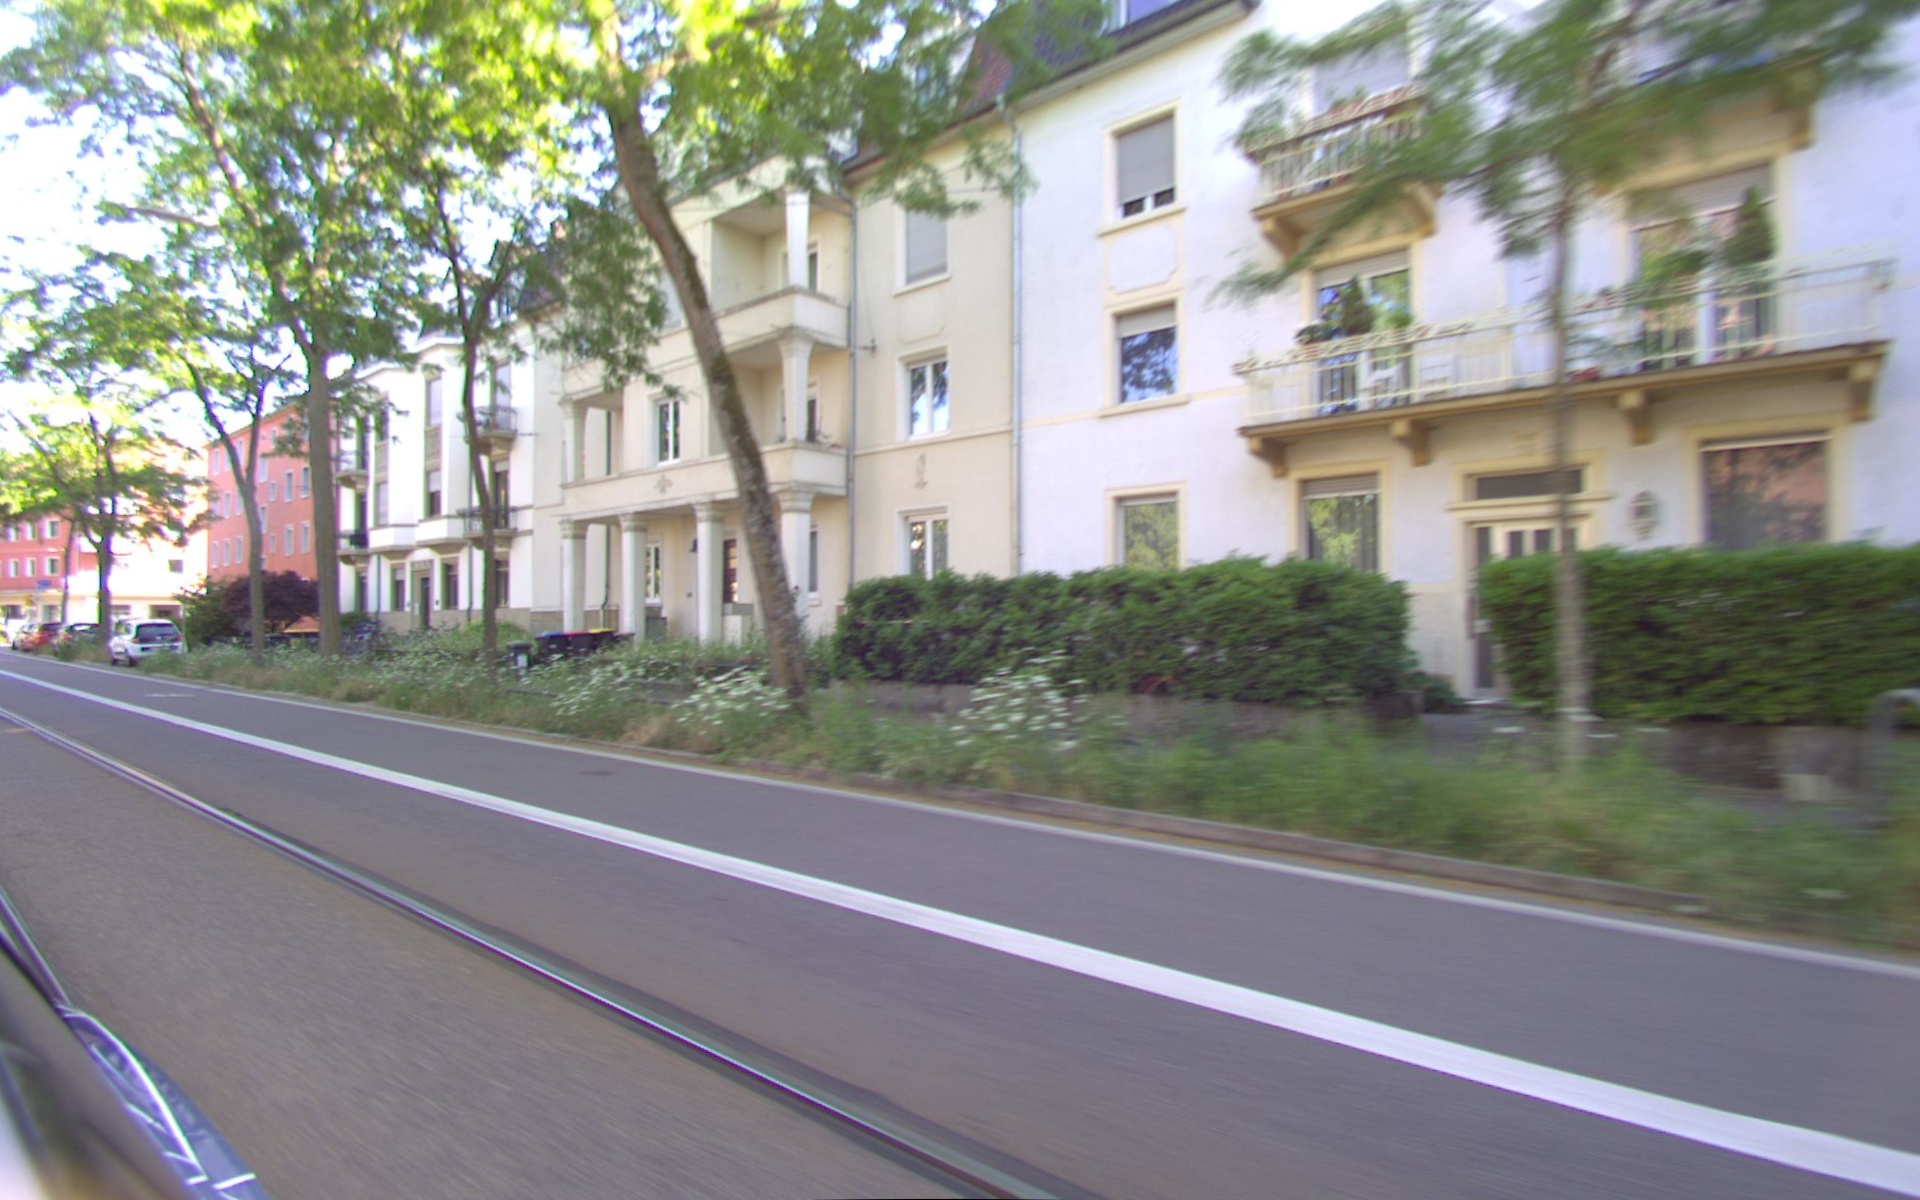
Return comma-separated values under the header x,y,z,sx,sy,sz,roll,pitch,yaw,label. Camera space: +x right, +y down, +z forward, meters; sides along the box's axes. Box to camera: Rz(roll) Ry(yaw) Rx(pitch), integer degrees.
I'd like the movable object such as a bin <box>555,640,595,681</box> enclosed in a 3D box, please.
x,y,z,sx,sy,sz,roll,pitch,yaw,label
-9.243,1.442,24.282,0.739,0.928,0.621,-1,-1,41,movable object such as a bin

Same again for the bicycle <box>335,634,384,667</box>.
x,y,z,sx,sy,sz,roll,pitch,yaw,label
-19.386,1.615,32.720,0.550,1.004,1.863,0,-1,-3,bicycle

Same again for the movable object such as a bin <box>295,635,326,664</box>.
x,y,z,sx,sy,sz,roll,pitch,yaw,label
-23.920,1.814,37.260,0.895,1.062,0.730,-2,-2,41,movable object such as a bin

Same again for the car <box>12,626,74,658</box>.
x,y,z,sx,sy,sz,roll,pitch,yaw,label
-44.030,1.998,48.568,4.091,1.465,1.558,-1,-1,38,car

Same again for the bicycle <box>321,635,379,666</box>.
x,y,z,sx,sy,sz,roll,pitch,yaw,label
-20.788,1.717,34.528,0.552,1.004,1.855,-1,-2,12,bicycle

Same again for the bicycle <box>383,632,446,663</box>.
x,y,z,sx,sy,sz,roll,pitch,yaw,label
-19.148,1.671,35.534,1.833,1.004,0.559,-2,-1,-8,bicycle

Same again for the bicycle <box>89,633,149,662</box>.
x,y,z,sx,sy,sz,roll,pitch,yaw,label
-33.779,1.892,40.660,0.542,1.129,1.793,-2,-1,41,bicycle

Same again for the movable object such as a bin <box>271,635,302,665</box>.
x,y,z,sx,sy,sz,roll,pitch,yaw,label
-24.414,1.816,36.700,0.895,1.049,0.730,-2,-2,41,movable object such as a bin

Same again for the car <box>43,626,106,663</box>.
x,y,z,sx,sy,sz,roll,pitch,yaw,label
-37.470,1.862,42.789,3.666,1.465,1.538,-2,-1,41,car

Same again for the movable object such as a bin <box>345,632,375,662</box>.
x,y,z,sx,sy,sz,roll,pitch,yaw,label
-22.850,1.796,38.541,0.895,1.122,0.730,-2,-2,41,movable object such as a bin

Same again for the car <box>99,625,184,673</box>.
x,y,z,sx,sy,sz,roll,pitch,yaw,label
-28.437,1.666,35.130,3.686,1.547,1.609,-1,-1,40,car

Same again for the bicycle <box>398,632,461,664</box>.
x,y,z,sx,sy,sz,roll,pitch,yaw,label
-18.284,1.637,34.913,1.833,1.004,0.559,-2,-1,-8,bicycle

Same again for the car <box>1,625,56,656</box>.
x,y,z,sx,sy,sz,roll,pitch,yaw,label
-47.923,2.059,52.037,4.092,1.517,1.557,-1,-1,39,car

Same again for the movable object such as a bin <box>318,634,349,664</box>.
x,y,z,sx,sy,sz,roll,pitch,yaw,label
-23.430,1.812,37.837,0.895,1.093,0.730,-2,-2,41,movable object such as a bin

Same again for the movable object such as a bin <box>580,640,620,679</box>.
x,y,z,sx,sy,sz,roll,pitch,yaw,label
-8.820,1.448,24.788,0.739,0.928,0.621,-1,-1,41,movable object such as a bin

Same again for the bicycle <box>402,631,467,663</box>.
x,y,z,sx,sy,sz,roll,pitch,yaw,label
-17.754,1.585,34.225,1.833,1.004,0.559,-2,-1,-8,bicycle

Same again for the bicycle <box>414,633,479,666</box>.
x,y,z,sx,sy,sz,roll,pitch,yaw,label
-17.039,1.630,33.602,1.831,1.004,0.560,-2,-1,-15,bicycle

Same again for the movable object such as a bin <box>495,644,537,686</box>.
x,y,z,sx,sy,sz,roll,pitch,yaw,label
-10.278,1.493,23.422,0.739,0.928,0.621,-1,-1,41,movable object such as a bin

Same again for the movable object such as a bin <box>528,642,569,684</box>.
x,y,z,sx,sy,sz,roll,pitch,yaw,label
-9.679,1.477,23.818,0.739,0.928,0.621,-1,-1,41,movable object such as a bin

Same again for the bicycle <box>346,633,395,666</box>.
x,y,z,sx,sy,sz,roll,pitch,yaw,label
-18.589,1.556,31.949,0.550,1.004,1.863,0,-1,-3,bicycle
